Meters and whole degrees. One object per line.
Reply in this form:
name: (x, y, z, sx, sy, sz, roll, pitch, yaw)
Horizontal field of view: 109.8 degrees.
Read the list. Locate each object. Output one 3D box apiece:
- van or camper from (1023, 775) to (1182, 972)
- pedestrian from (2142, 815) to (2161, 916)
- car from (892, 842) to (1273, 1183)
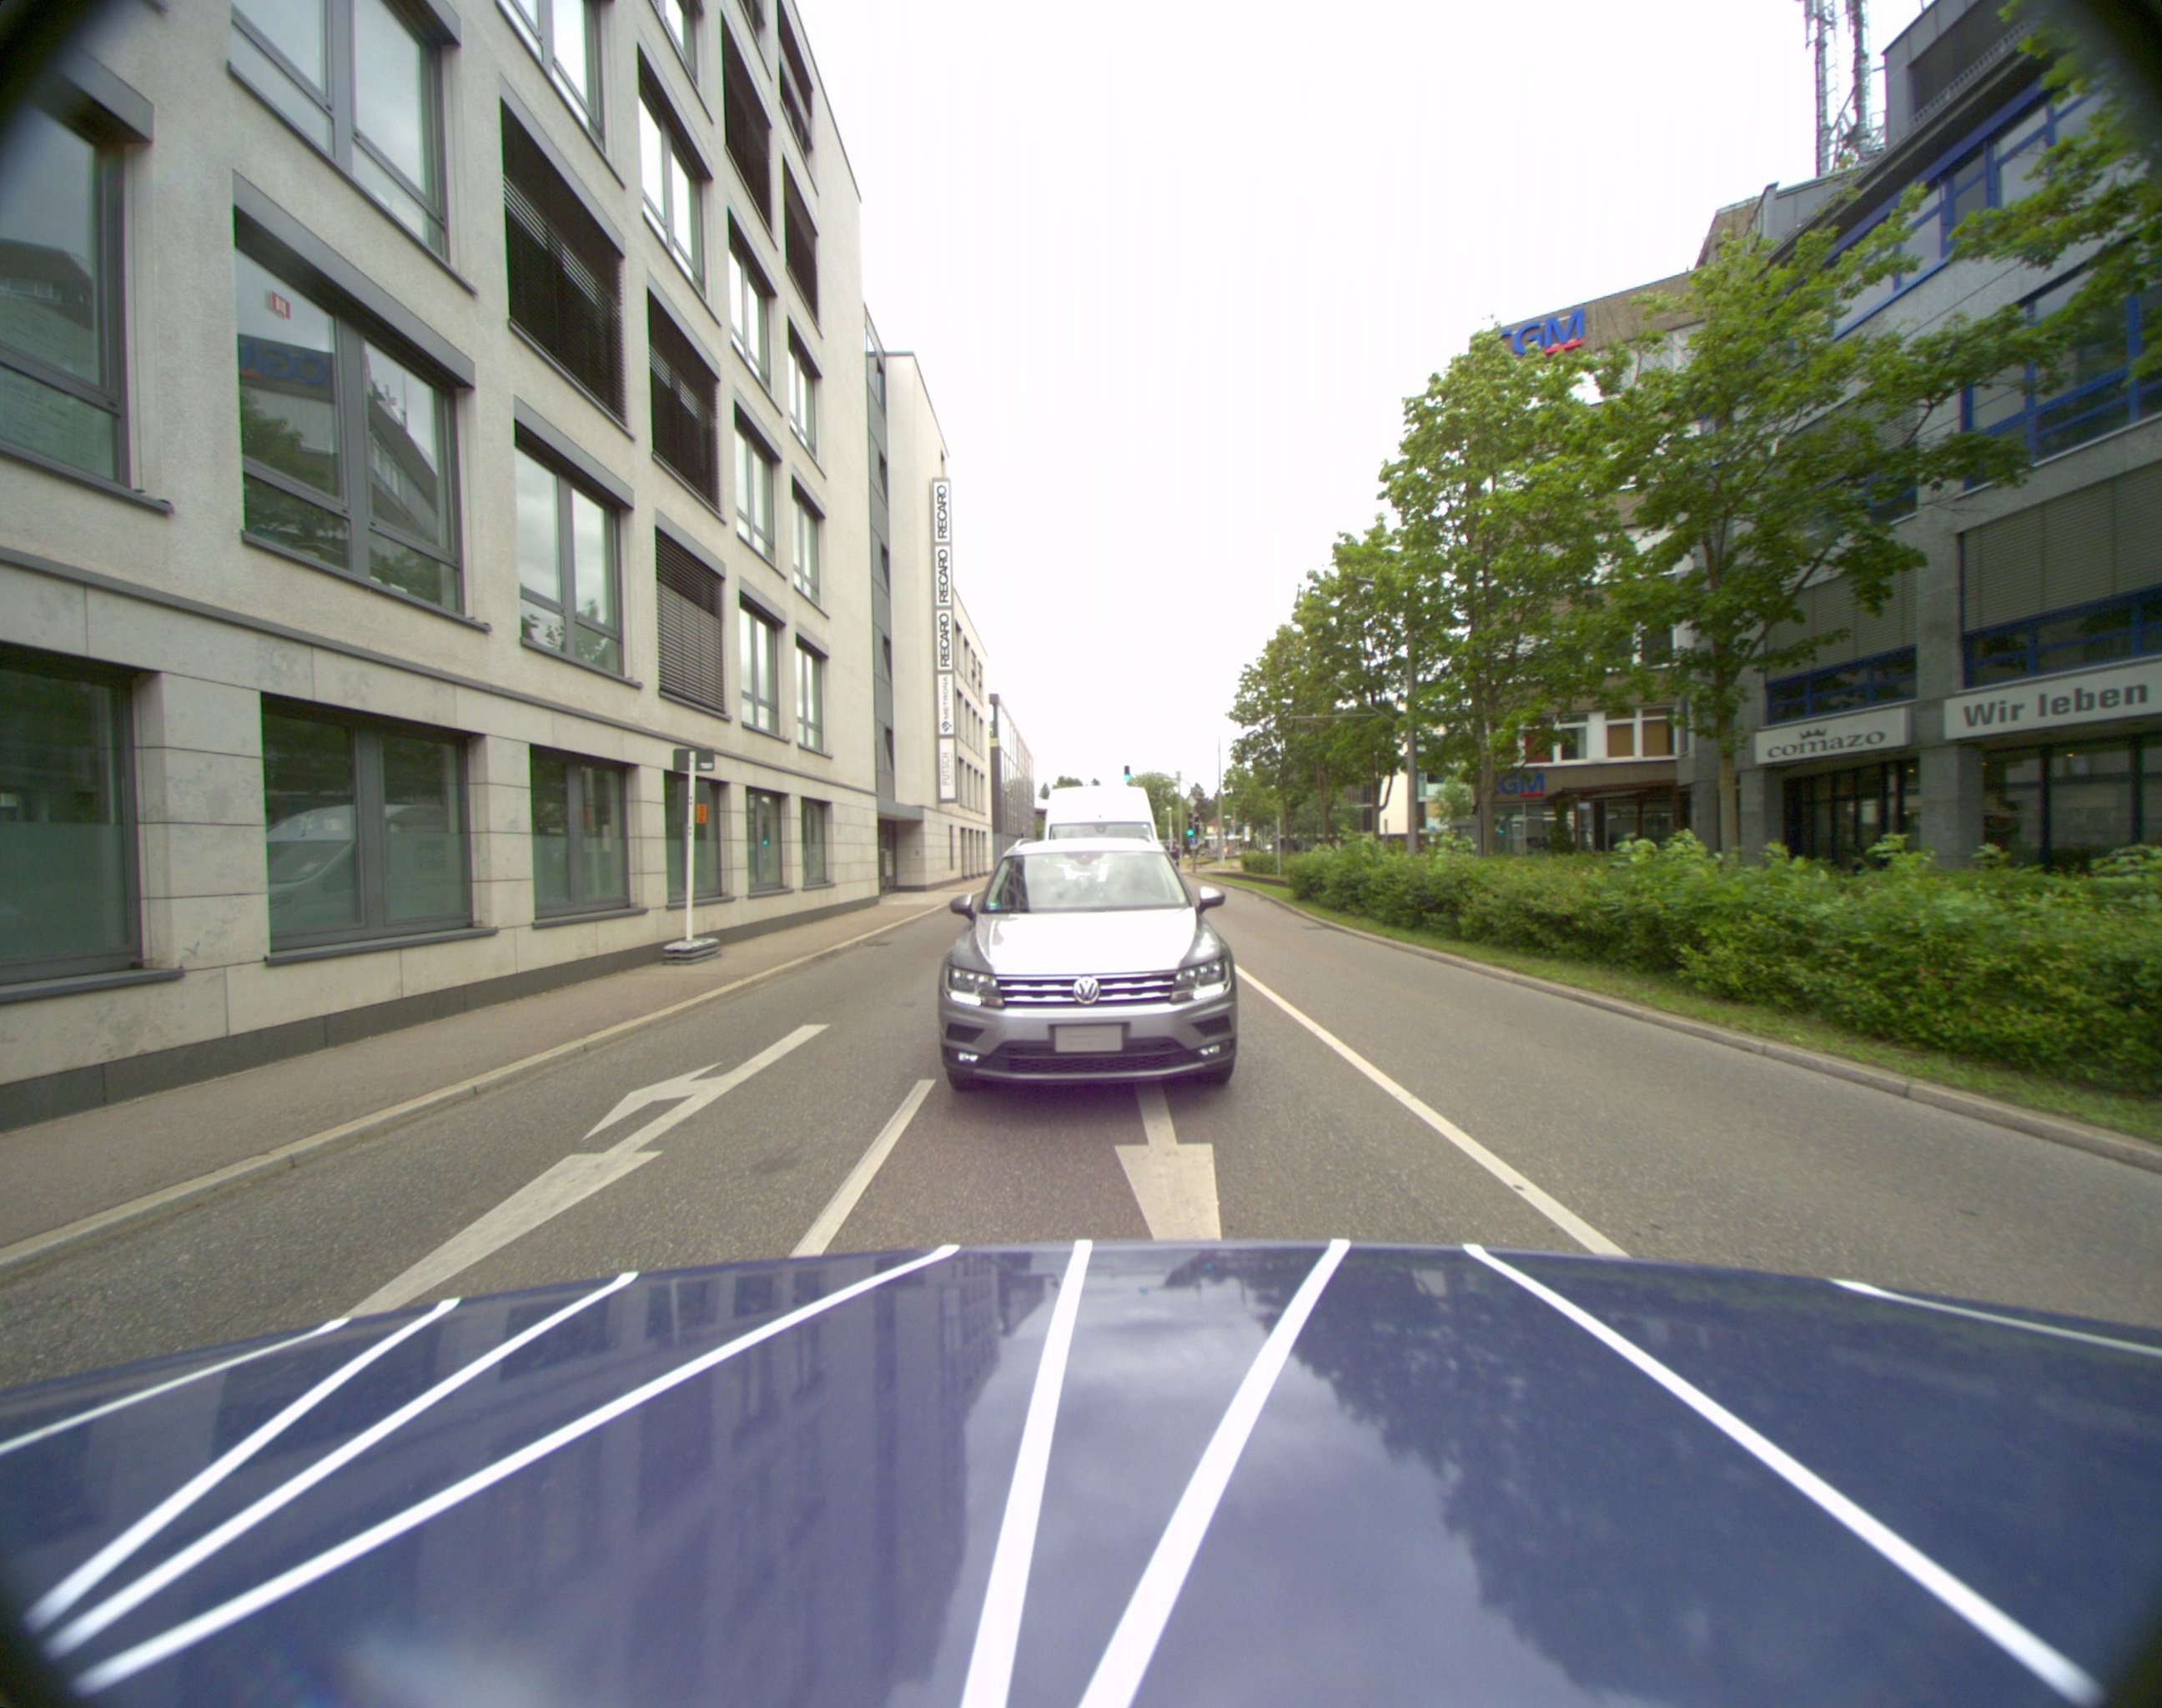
van or camper: (0.210, 0.247, 13.882, 2.110, 2.675, 6.297, -3, 1, -2)
pedestrian: (16.242, 0.154, 11.029, 0.699, 1.474, 0.679, -3, 1, 1)
car: (0.041, 0.782, 5.987, 1.833, 1.636, 4.326, -3, 1, 1)
